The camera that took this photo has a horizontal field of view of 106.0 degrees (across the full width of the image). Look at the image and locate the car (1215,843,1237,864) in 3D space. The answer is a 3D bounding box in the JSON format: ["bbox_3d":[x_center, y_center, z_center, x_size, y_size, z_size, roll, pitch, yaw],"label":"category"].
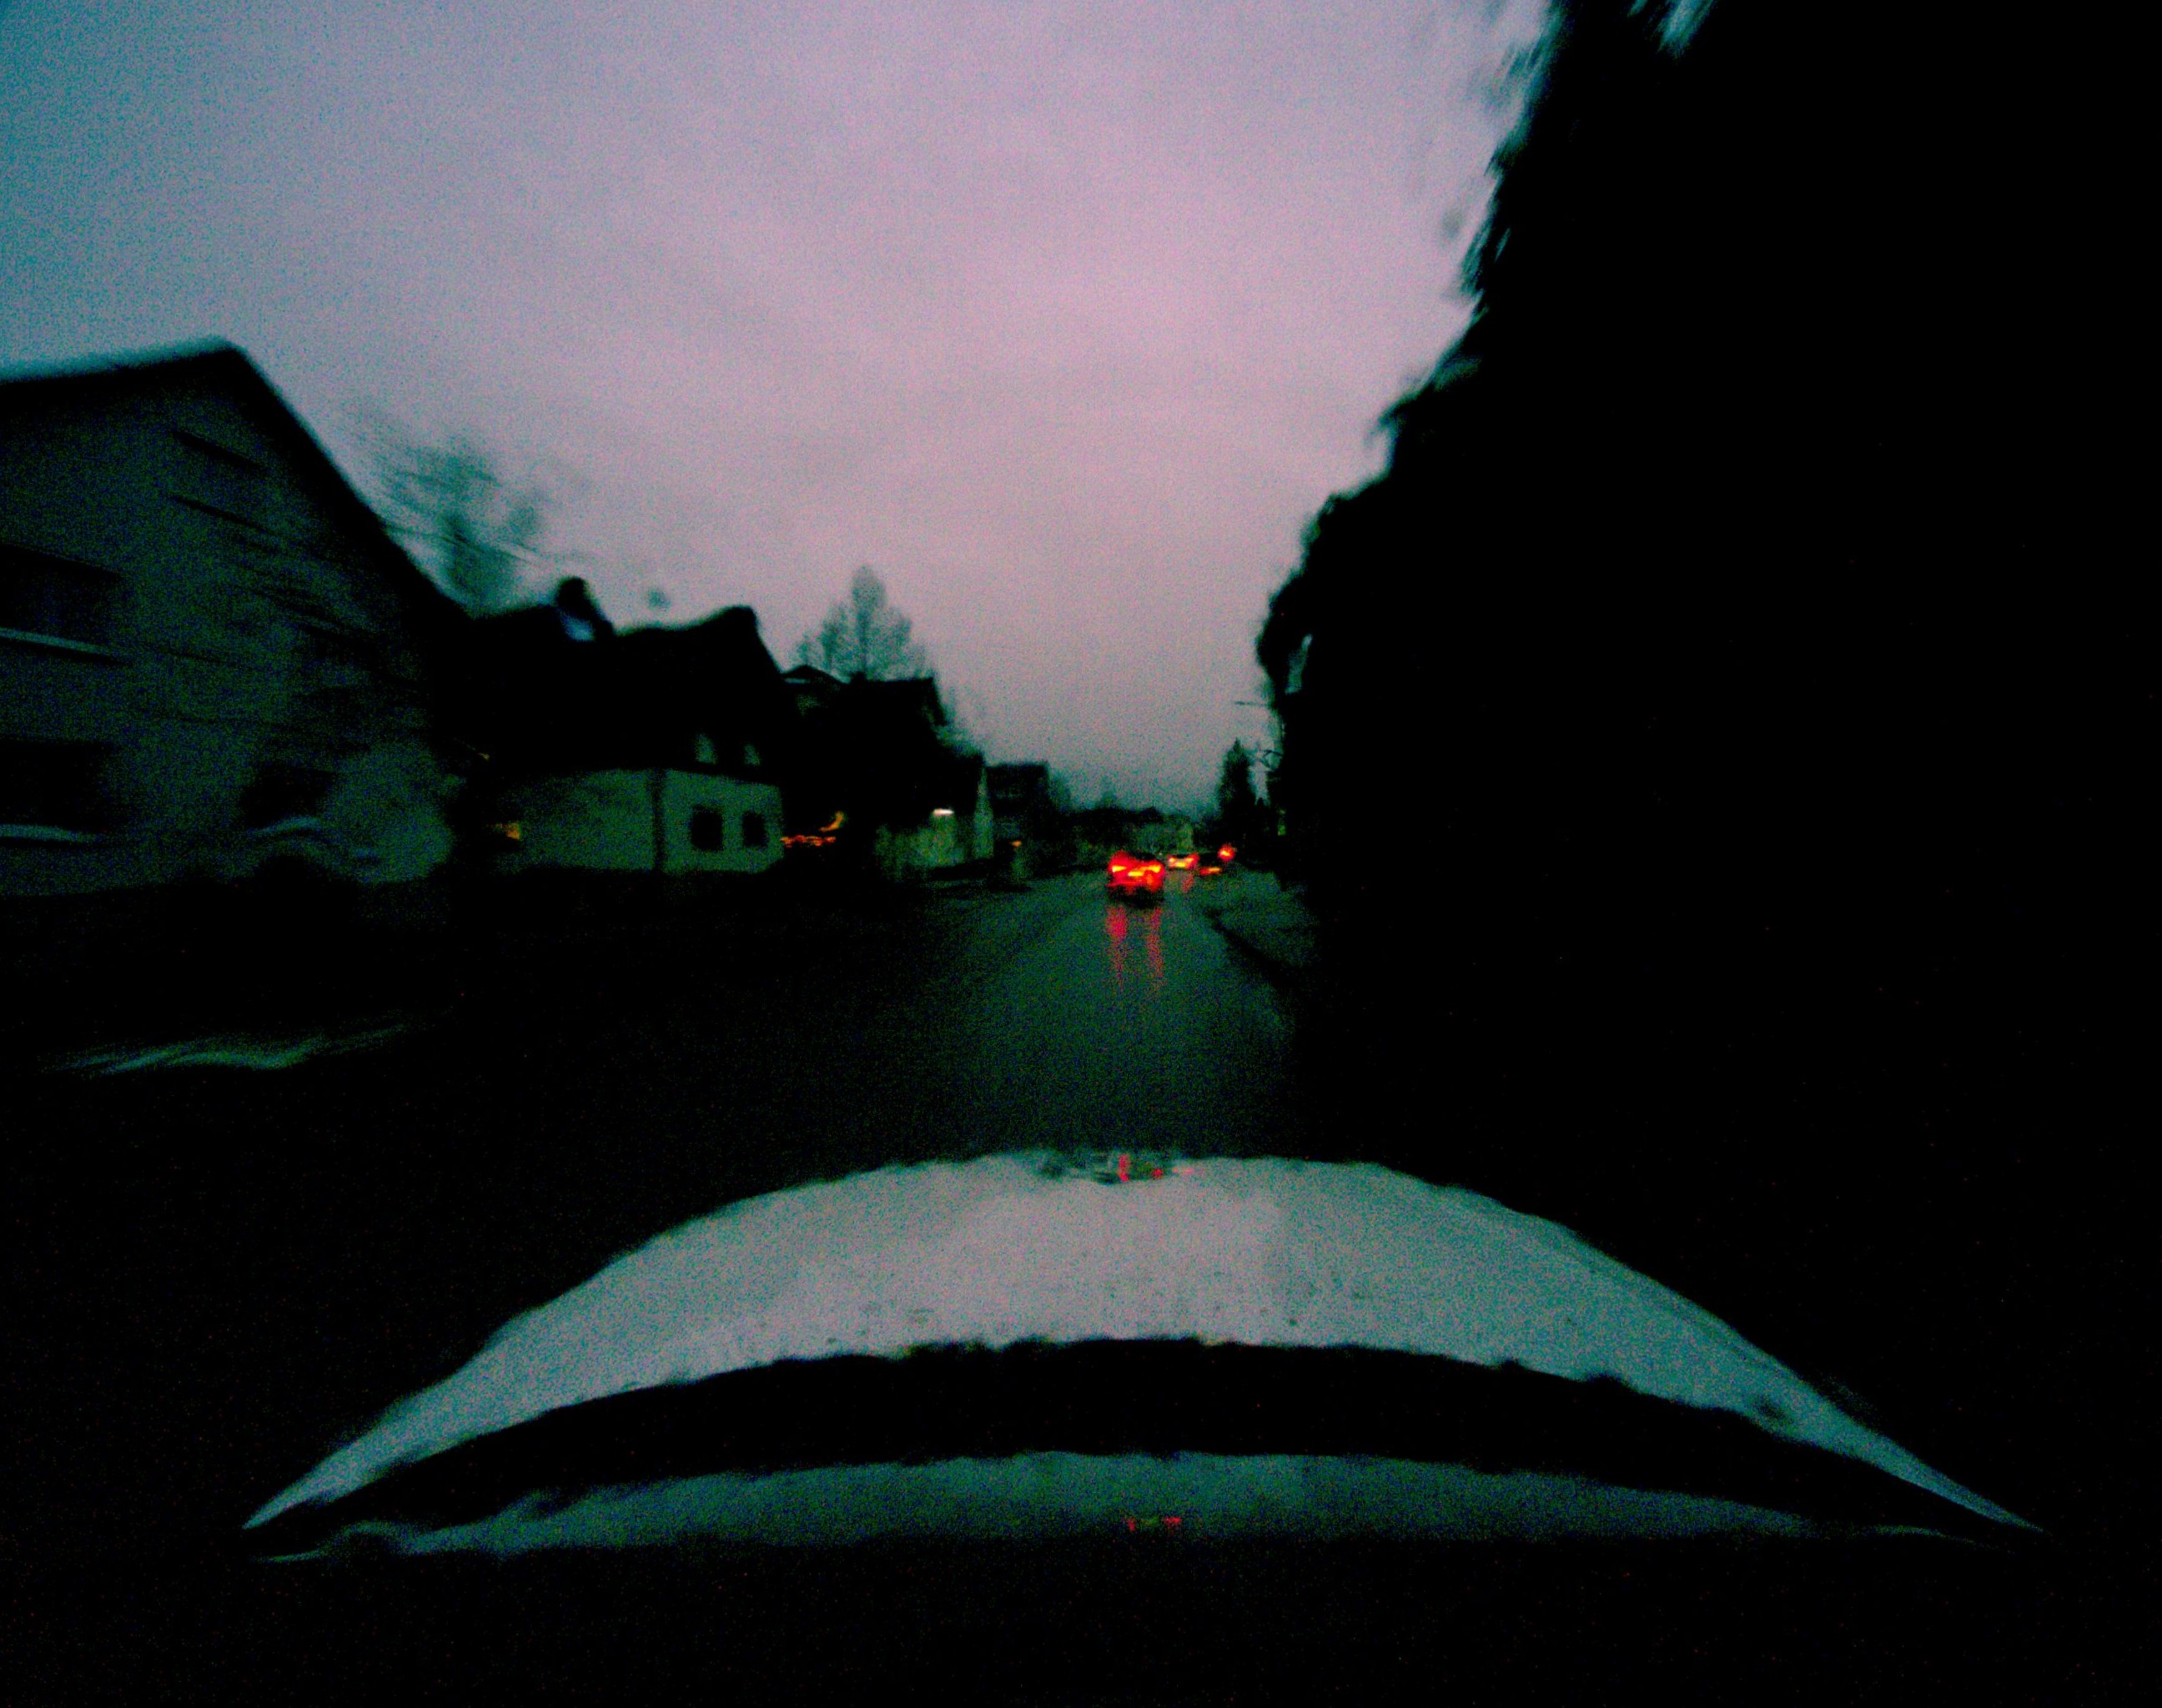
[{"bbox_3d":[14.938,-0.087,83.589,1.964,2.013,5.764,-4,0,11],"label":"car"}]

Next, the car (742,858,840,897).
[{"bbox_3d":[-10.924,0.862,31.003,1.771,1.366,4.010,-1,0,9],"label":"car"}]

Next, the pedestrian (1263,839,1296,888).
[{"bbox_3d":[7.478,0.361,30.743,0.982,1.742,1.058,-4,0,8],"label":"pedestrian"}]

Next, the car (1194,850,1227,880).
[{"bbox_3d":[6.992,0.558,43.974,1.639,1.540,3.399,-1,0,9],"label":"car"}]

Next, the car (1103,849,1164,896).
[{"bbox_3d":[1.914,0.620,29.343,1.984,1.525,4.005,-1,0,4],"label":"car"}]

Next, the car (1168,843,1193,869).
[{"bbox_3d":[8.147,0.186,66.773,1.983,2.014,4.007,-1,0,7],"label":"car"}]
